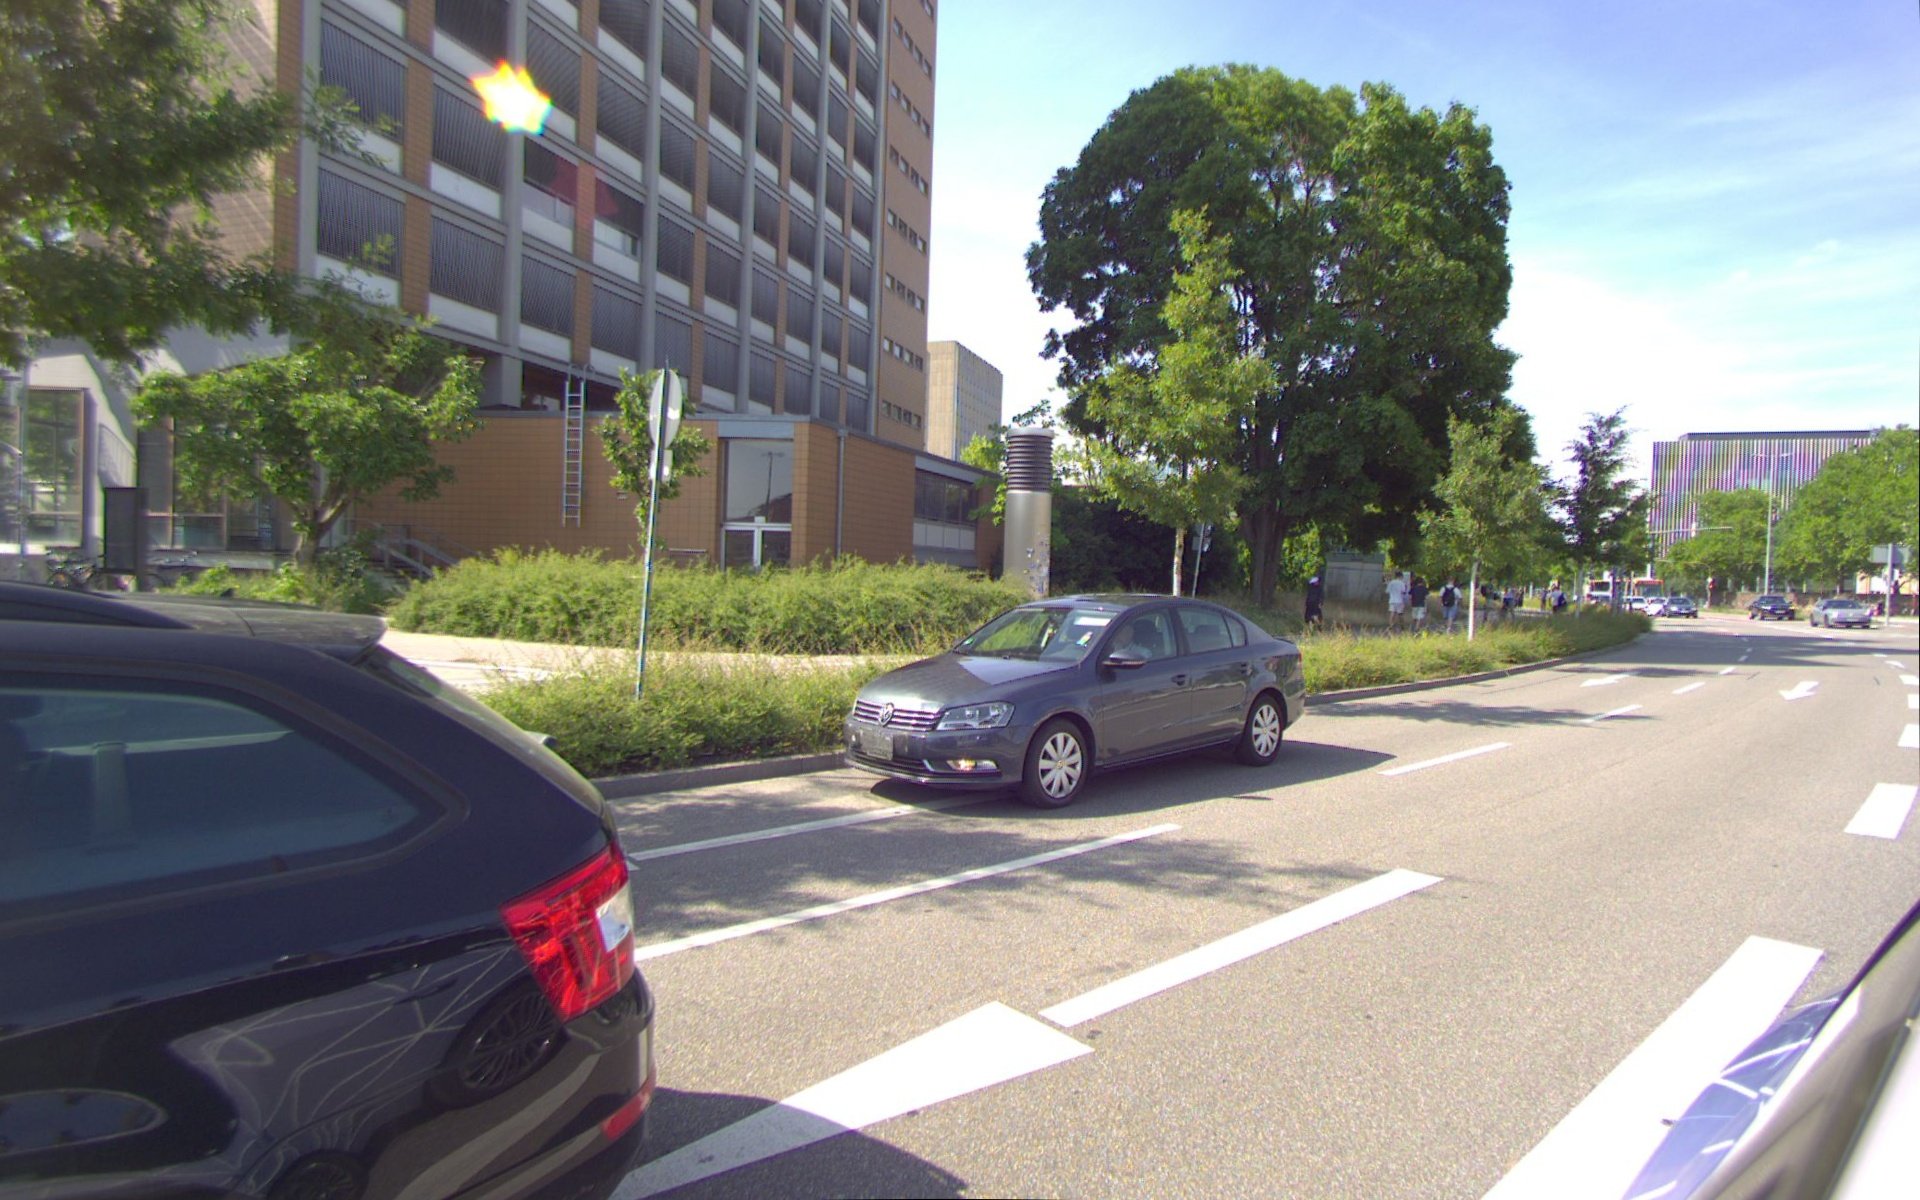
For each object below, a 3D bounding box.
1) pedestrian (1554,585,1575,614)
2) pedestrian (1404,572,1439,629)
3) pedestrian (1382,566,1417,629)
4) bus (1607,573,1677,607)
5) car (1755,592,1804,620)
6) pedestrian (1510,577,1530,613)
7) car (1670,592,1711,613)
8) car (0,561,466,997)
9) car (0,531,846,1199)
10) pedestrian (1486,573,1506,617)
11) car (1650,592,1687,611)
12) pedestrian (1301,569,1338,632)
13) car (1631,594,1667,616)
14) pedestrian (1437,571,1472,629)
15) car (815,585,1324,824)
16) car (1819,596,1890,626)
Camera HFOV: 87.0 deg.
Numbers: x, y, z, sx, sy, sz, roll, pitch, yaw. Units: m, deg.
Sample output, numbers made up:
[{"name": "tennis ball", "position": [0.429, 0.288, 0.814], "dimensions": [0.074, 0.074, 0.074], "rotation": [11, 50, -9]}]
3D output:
[{"name": "pedestrian", "position": [24.640, -0.022, 41.268], "dimensions": [0.639, 1.145, 0.743], "rotation": [4, 3, 33]}, {"name": "pedestrian", "position": [13.744, 0.015, 30.125], "dimensions": [0.719, 1.646, 0.643], "rotation": [0, 3, -41]}, {"name": "pedestrian", "position": [13.319, -0.094, 30.664], "dimensions": [0.719, 1.860, 0.643], "rotation": [0, 3, -41]}, {"name": "bus", "position": [68.014, -1.011, 101.264], "dimensions": [2.762, 3.076, 12.070], "rotation": [2, 1, 20]}, {"name": "car", "position": [54.017, 0.390, 66.753], "dimensions": [1.743, 1.751, 4.073], "rotation": [0, 0, 28]}, {"name": "pedestrian", "position": [23.068, -0.215, 41.714], "dimensions": [0.638, 1.464, 0.564], "rotation": [3, 3, 29]}, {"name": "car", "position": [51.664, 0.151, 71.629], "dimensions": [1.635, 1.442, 4.083], "rotation": [0, 0, 26]}, {"name": "car", "position": [-4.288, 0.576, 3.544], "dimensions": [4.319, 1.448, 1.704], "rotation": [1, 0, -40]}, {"name": "car", "position": [-2.506, 0.642, 1.052], "dimensions": [4.698, 1.453, 1.633], "rotation": [-1, 1, -42]}, {"name": "pedestrian", "position": [22.305, -0.227, 42.115], "dimensions": [0.638, 1.785, 0.470], "rotation": [3, 3, 29]}, {"name": "car", "position": [53.835, 0.089, 76.961], "dimensions": [1.635, 1.442, 4.083], "rotation": [0, 0, 26]}, {"name": "pedestrian", "position": [9.811, 0.000, 27.634], "dimensions": [0.719, 1.684, 0.592], "rotation": [0, 3, -41]}, {"name": "car", "position": [47.978, 0.321, 70.524], "dimensions": [1.667, 1.493, 3.723], "rotation": [0, 0, 28]}, {"name": "pedestrian", "position": [14.653, -0.010, 29.992], "dimensions": [0.739, 1.694, 0.643], "rotation": [0, 3, -41]}, {"name": "car", "position": [1.120, 0.611, 8.329], "dimensions": [4.451, 1.453, 1.633], "rotation": [-1, 1, -42]}, {"name": "car", "position": [47.268, 0.551, 53.570], "dimensions": [1.816, 1.454, 4.060], "rotation": [0, 0, 27]}]
